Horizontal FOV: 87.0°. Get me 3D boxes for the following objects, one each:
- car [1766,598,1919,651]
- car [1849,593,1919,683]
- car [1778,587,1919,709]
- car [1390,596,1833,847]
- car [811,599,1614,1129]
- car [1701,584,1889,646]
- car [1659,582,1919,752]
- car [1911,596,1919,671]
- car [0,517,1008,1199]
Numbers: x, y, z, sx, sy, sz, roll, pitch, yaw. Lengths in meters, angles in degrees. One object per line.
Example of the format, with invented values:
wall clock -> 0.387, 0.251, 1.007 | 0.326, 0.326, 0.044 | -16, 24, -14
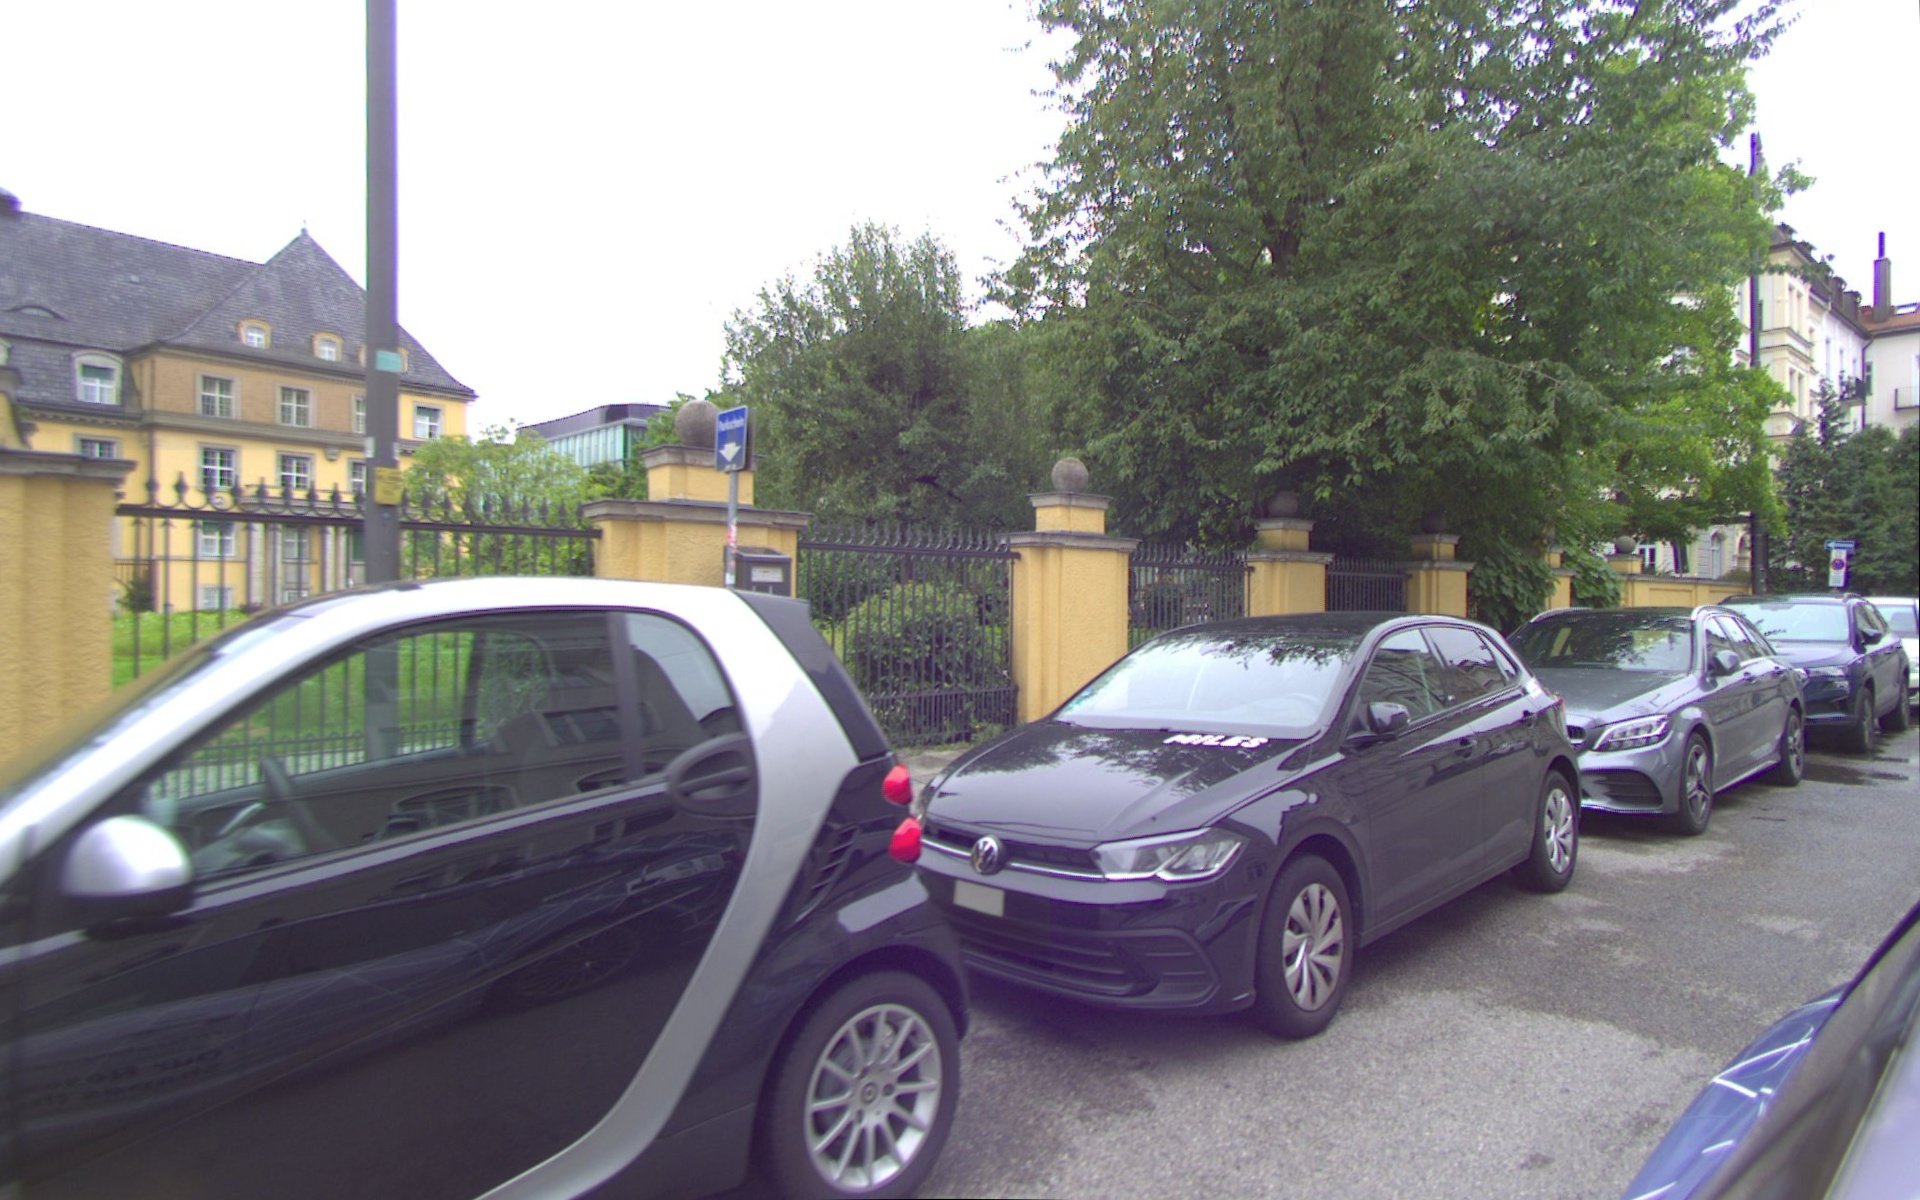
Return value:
car -> 26.410, 0.670, 29.302 | 1.761, 1.431, 4.576 | 0, 1, -40
car -> 17.284, 0.622, 17.963 | 4.110, 1.471, 1.716 | 0, 0, -41
car -> 13.734, 0.623, 15.036 | 4.244, 1.590, 1.716 | 0, 0, -41
car -> 5.275, 0.698, 7.933 | 4.435, 1.432, 1.695 | 0, 0, -40
car -> 1.445, 0.735, 4.724 | 3.967, 1.433, 1.694 | 0, -2, -42
car -> 27.689, 0.466, 33.672 | 1.713, 1.896, 4.669 | 4, -2, -44
car -> 9.781, 0.618, 11.679 | 4.608, 1.590, 1.716 | 0, 0, -41
car -> 21.177, 0.675, 20.919 | 4.868, 1.471, 1.716 | 0, 0, -41
car -> -1.442, 0.692, 2.391 | 2.818, 1.586, 1.510 | 0, -2, -40
